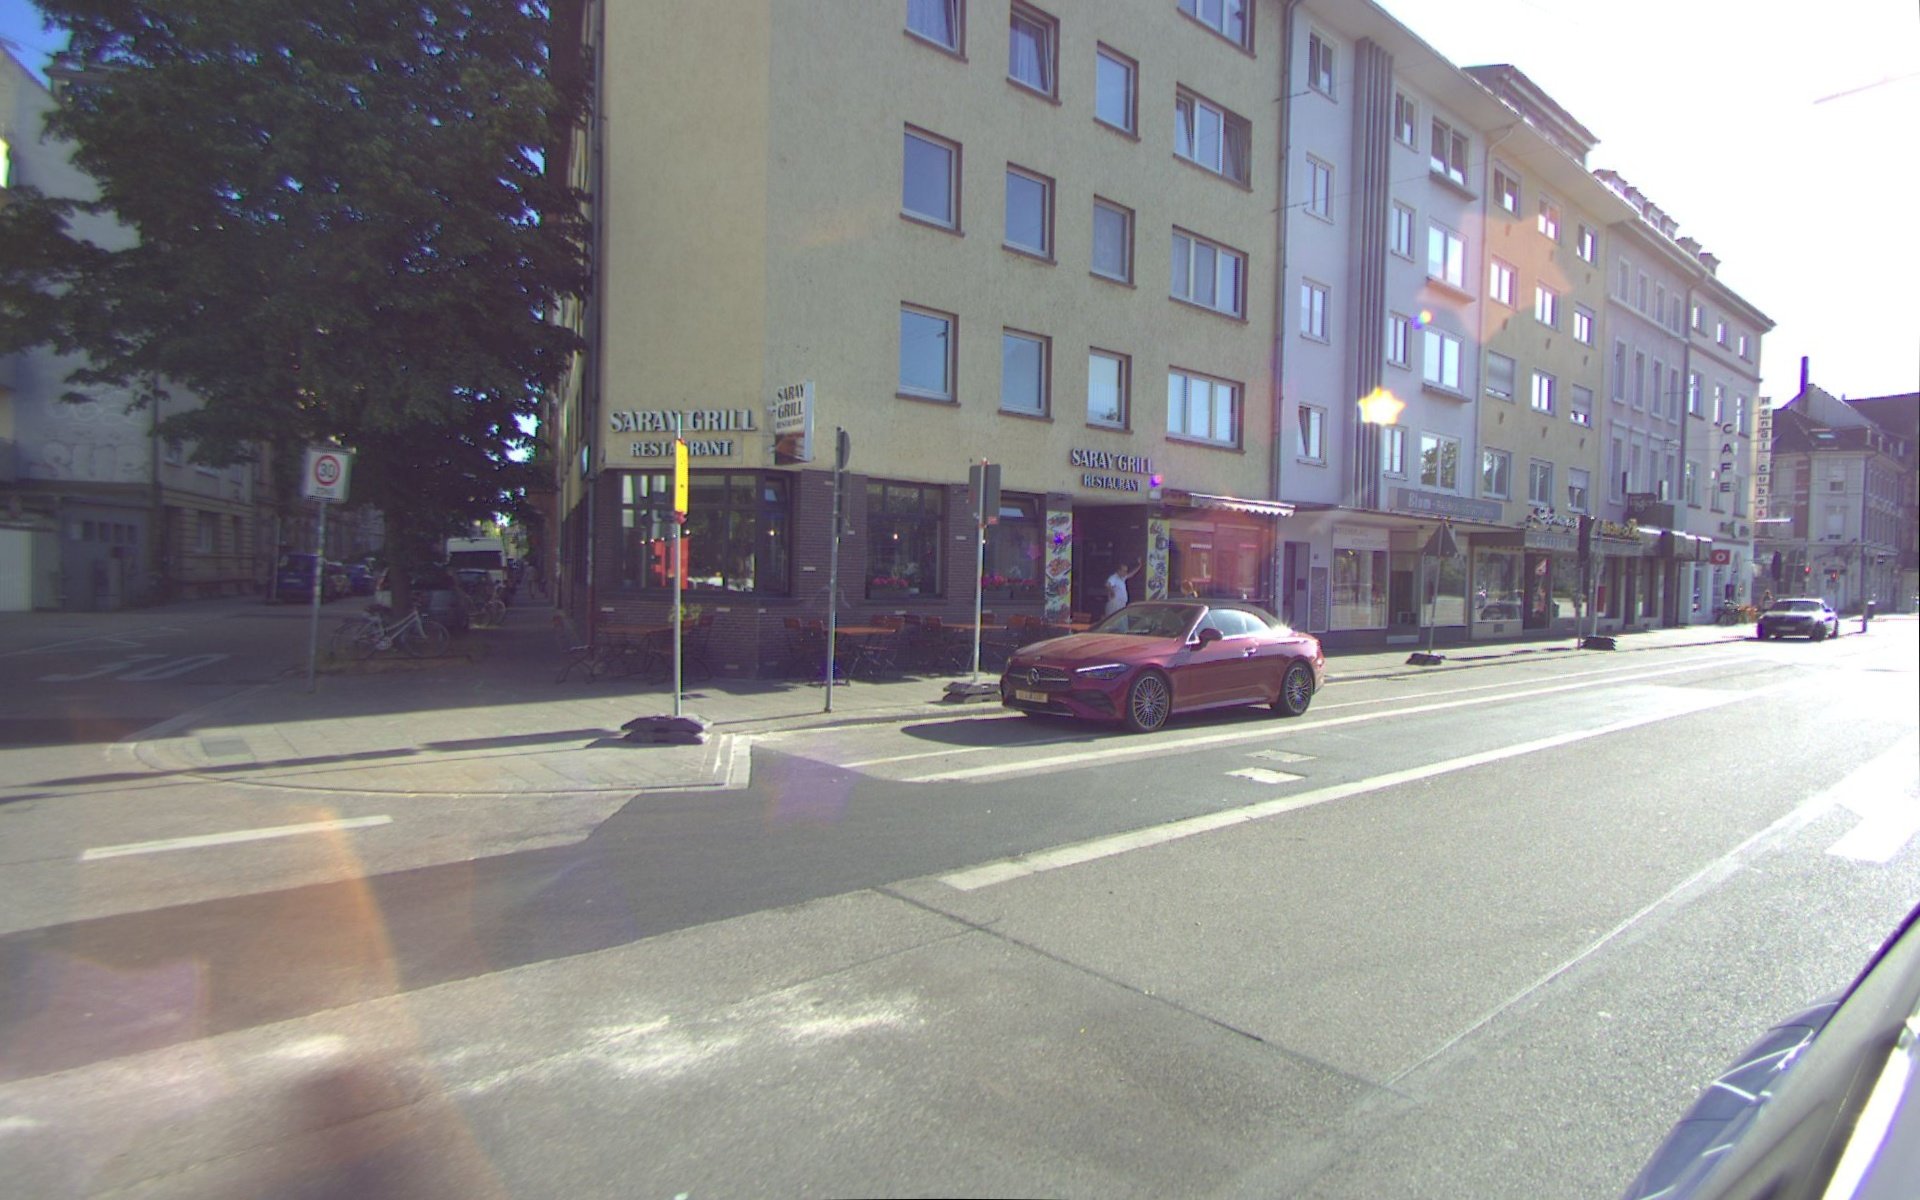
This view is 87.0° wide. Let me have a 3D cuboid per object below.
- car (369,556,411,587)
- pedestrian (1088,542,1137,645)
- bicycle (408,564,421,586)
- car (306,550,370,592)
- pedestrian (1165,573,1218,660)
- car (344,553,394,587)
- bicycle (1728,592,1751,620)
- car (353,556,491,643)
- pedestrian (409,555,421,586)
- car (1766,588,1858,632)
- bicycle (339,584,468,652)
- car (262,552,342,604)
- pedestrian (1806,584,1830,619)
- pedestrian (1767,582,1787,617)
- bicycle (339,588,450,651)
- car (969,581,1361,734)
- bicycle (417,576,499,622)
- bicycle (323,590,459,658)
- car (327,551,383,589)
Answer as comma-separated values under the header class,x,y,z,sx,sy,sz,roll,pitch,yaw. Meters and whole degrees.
class,x,y,z,sx,sy,sz,roll,pitch,yaw
car,-37.019,-1.865,65.833,1.958,1.845,4.257,1,1,-24
pedestrian,2.865,-0.129,18.972,0.722,1.877,0.894,1,1,22
bicycle,-29.904,-1.389,55.526,0.552,1.146,1.661,0,2,-26
car,-29.422,-1.390,47.986,1.958,1.845,4.257,1,1,-24
pedestrian,4.169,0.284,18.254,0.640,1.525,0.672,0,1,-40
car,-33.675,-1.709,57.728,1.958,1.845,4.257,1,1,-24
bicycle,33.639,0.250,43.698,0.693,1.122,1.842,2,2,35
car,-11.483,-0.066,21.913,1.958,1.662,4.258,1,1,-19
pedestrian,-29.889,-1.619,55.522,0.543,1.644,0.514,0,1,-26
car,30.611,0.310,36.315,4.636,1.447,1.902,-1,0,-42
bicycle,-9.282,0.299,16.900,1.905,1.096,0.370,1,1,-4
car,-24.851,-0.858,38.359,1.959,1.845,4.256,1,1,-25
pedestrian,42.351,0.081,49.954,0.785,1.712,0.775,3,-1,-40
pedestrian,41.489,-0.027,51.387,0.665,1.711,0.663,0,1,-40
bicycle,-10.320,0.327,18.528,0.367,1.096,1.803,2,2,36
car,2.648,0.526,12.253,5.067,1.460,1.876,-1,2,-39
bicycle,-12.383,-0.027,24.978,1.789,1.096,0.370,0,1,-28
bicycle,-9.021,0.376,16.073,1.905,1.017,0.370,1,1,-4
car,-31.691,-1.594,53.111,1.958,1.845,4.257,1,1,-24
